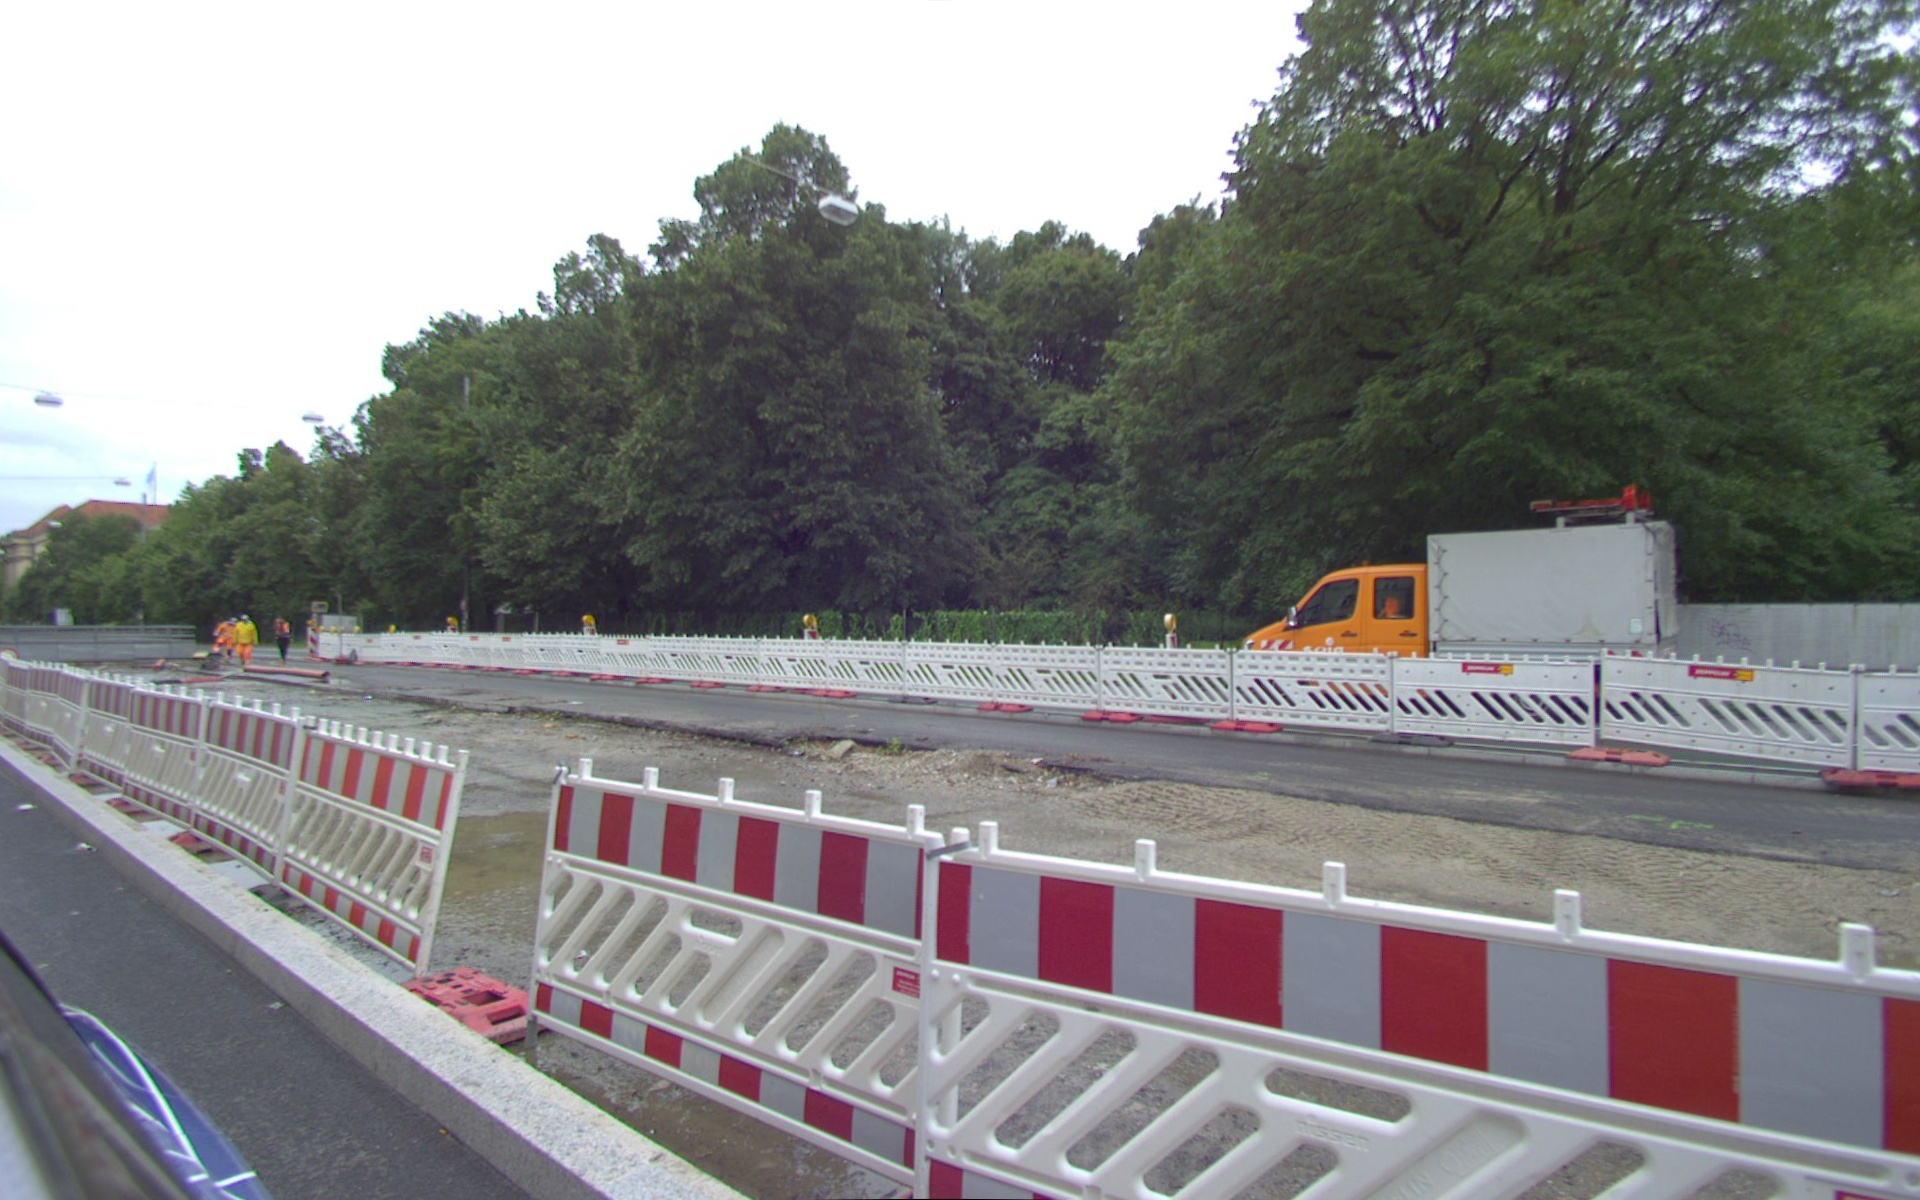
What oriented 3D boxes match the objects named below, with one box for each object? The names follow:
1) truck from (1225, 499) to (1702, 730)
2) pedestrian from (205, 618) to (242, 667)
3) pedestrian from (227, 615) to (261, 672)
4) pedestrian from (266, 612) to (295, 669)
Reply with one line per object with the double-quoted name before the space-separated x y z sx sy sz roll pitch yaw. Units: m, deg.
"truck" 7.386 0.262 15.541 6.213 2.871 2.098 -2 -3 44
"pedestrian" -25.849 1.481 35.527 0.911 1.701 0.888 -2 -3 44
"pedestrian" -23.681 1.441 33.487 0.846 1.850 0.877 2 -2 -33
"pedestrian" -23.910 1.422 35.610 0.657 1.985 0.808 1 -2 -23
